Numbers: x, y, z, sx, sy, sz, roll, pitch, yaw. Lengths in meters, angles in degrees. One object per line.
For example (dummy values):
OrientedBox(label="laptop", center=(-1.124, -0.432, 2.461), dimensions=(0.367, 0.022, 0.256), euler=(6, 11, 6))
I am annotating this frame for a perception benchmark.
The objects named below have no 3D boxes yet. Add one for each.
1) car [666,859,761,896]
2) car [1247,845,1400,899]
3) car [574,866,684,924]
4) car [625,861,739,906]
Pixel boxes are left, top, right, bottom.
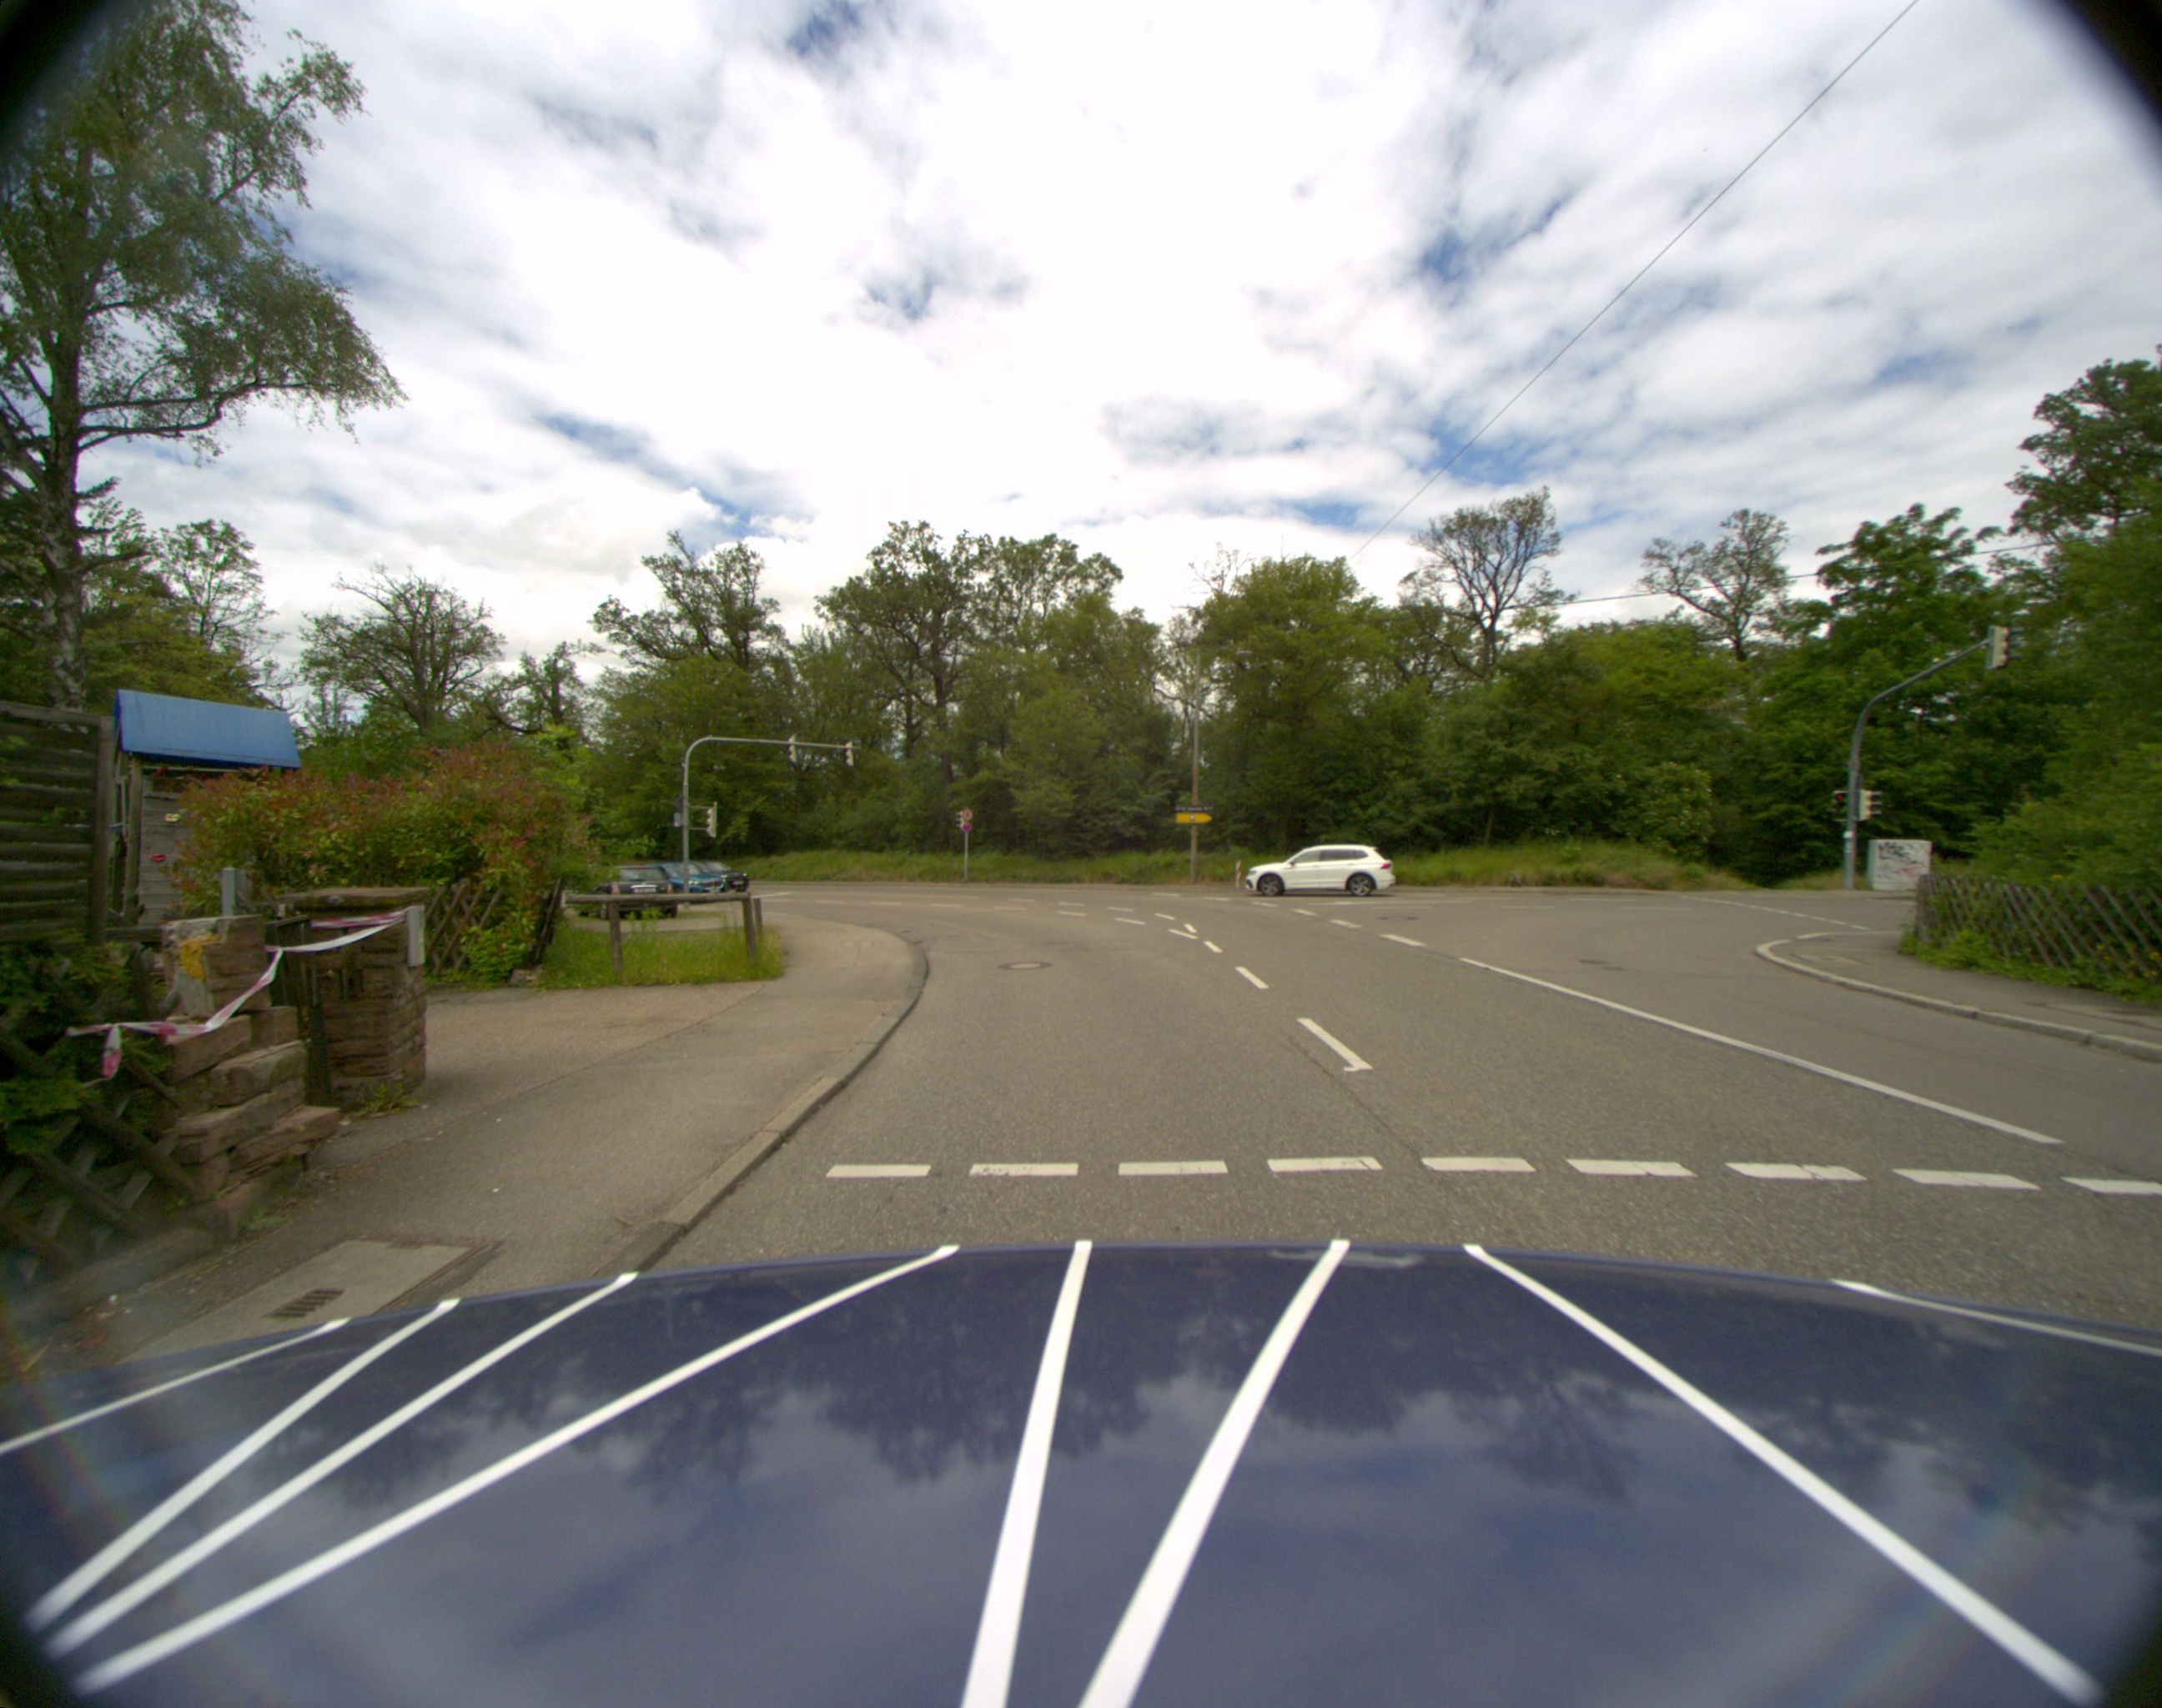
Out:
OrientedBox(label="car", center=(-16.427, 1.026, 33.969), dimensions=(3.989, 1.499, 1.740), euler=(-1, 3, 28))
OrientedBox(label="car", center=(7.986, 0.547, 25.086), dimensions=(4.642, 1.618, 1.867), euler=(1, 0, 22))
OrientedBox(label="car", center=(-12.148, 1.018, 20.334), dimensions=(3.594, 1.382, 1.660), euler=(0, -1, 44))
OrientedBox(label="car", center=(-15.789, 1.119, 30.069), dimensions=(3.990, 1.569, 1.918), euler=(0, 4, 25))
